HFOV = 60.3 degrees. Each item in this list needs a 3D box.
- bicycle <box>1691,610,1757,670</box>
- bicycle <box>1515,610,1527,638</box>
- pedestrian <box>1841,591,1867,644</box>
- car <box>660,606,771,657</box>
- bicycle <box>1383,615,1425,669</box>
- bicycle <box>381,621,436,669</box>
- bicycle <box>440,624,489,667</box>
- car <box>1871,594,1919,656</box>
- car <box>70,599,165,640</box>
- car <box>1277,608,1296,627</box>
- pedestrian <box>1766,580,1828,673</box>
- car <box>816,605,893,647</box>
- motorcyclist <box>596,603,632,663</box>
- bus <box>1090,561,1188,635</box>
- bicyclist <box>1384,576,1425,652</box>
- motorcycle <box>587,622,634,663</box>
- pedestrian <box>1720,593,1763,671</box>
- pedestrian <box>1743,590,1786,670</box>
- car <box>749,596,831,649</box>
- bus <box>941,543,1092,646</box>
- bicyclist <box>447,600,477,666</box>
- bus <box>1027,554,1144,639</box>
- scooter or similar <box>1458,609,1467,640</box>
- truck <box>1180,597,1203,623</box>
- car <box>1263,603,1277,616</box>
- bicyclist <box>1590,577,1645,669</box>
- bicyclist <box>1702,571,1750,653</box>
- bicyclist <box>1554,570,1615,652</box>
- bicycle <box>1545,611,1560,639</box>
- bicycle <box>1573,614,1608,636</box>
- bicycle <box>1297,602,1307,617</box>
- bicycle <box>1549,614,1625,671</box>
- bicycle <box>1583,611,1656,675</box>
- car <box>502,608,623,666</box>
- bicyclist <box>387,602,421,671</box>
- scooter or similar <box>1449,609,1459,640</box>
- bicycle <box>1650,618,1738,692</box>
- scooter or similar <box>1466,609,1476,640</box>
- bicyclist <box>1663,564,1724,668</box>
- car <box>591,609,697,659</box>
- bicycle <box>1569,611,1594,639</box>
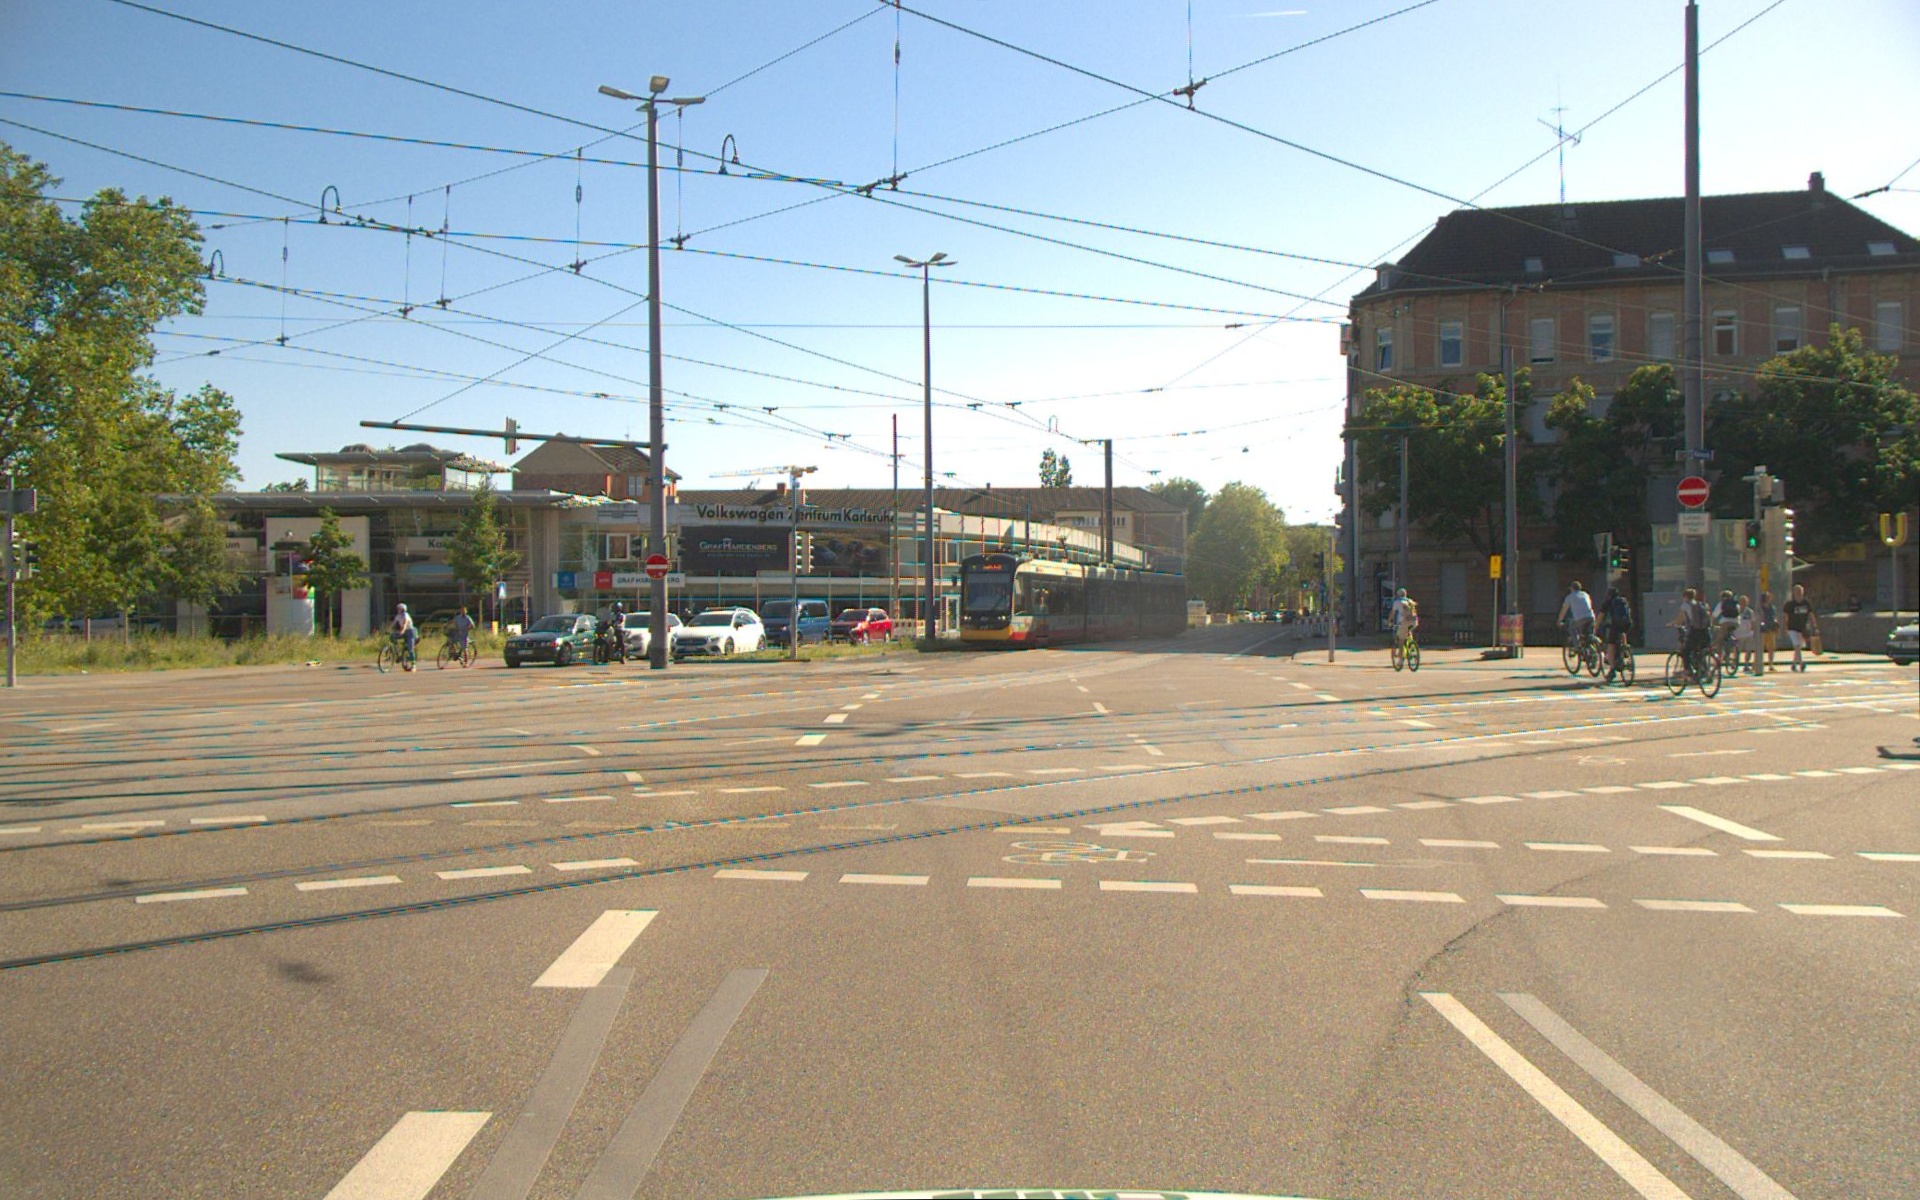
[{"bbox_3d":[15.720,0.811,34.078,0.520,1.137,1.935,1,1,3],"label":"bicycle"},{"bbox_3d":[22.032,0.943,64.953,0.395,1.080,1.483,1,-1,18],"label":"bicycle"},{"bbox_3d":[31.829,0.617,58.892,0.641,1.881,0.542,2,-1,-29],"label":"pedestrian"},{"bbox_3d":[-7.371,0.949,50.321,1.764,1.457,4.544,1,-1,14],"label":"car"},{"bbox_3d":[10.261,0.958,38.291,0.520,1.137,1.935,1,1,3],"label":"bicycle"},{"bbox_3d":[-14.633,1.197,43.955,0.526,1.204,1.755,-1,0,13],"label":"bicycle"},{"bbox_3d":[-13.591,1.238,45.421,0.526,1.092,1.656,-1,0,13],"label":"bicycle"},{"bbox_3d":[27.384,0.698,45.574,4.184,1.649,1.903,1,-2,-25],"label":"car"},{"bbox_3d":[-44.366,1.033,87.141,3.911,2.049,1.997,1,-1,-7],"label":"car"},{"bbox_3d":[36.837,1.957,186.423,1.951,2.049,4.003,1,-1,13],"label":"car"},{"bbox_3d":[18.222,0.570,36.030,0.911,1.963,1.049,1,-1,9],"label":"pedestrian"},{"bbox_3d":[-4.521,1.121,71.550,1.761,1.749,4.418,-1,-1,18],"label":"car"},{"bbox_3d":[-9.499,0.909,45.427,0.573,1.607,0.944,-1,-2,15],"label":"motorcyclist"},{"bbox_3d":[9.570,-0.056,87.137,2.781,3.652,11.275,0,0,18],"label":"bus"},{"bbox_3d":[10.254,0.335,38.203,0.667,1.713,1.120,1,-1,3],"label":"bicyclist"},{"bbox_3d":[-9.539,1.146,45.183,0.507,1.065,1.748,-1,0,15],"label":"motorcycle"},{"bbox_3d":[17.479,0.717,37.019,0.645,1.706,0.824,1,-1,9],"label":"pedestrian"},{"bbox_3d":[18.299,0.690,37.649,0.645,1.788,0.824,1,-1,9],"label":"pedestrian"},{"bbox_3d":[-6.578,0.873,64.377,1.764,1.967,4.167,-1,-1,15],"label":"car"},{"bbox_3d":[2.498,-0.148,65.125,2.781,3.652,13.504,0,0,16],"label":"bus"},{"bbox_3d":[-13.617,0.893,45.221,0.562,1.773,0.602,1,1,13],"label":"bicyclist"},{"bbox_3d":[5.975,-0.135,76.683,2.781,3.652,10.729,0,0,19],"label":"bus"},{"bbox_3d":[19.836,0.984,65.297,0.264,1.206,1.566,1,-1,14],"label":"scooter or similar"},{"bbox_3d":[27.002,1.165,192.634,2.484,2.880,6.381,1,-1,9],"label":"truck"},{"bbox_3d":[45.405,1.369,241.949,1.721,1.726,4.147,1,-1,14],"label":"car"},{"bbox_3d":[12.077,0.418,30.389,0.610,1.642,0.981,1,-1,1],"label":"bicyclist"},{"bbox_3d":[15.736,0.249,34.003,0.585,1.642,0.953,1,-1,4],"label":"bicyclist"},{"bbox_3d":[12.540,0.224,33.239,0.769,1.621,0.882,0,-1,-15],"label":"bicyclist"},{"bbox_3d":[23.182,0.975,64.760,0.394,1.080,1.353,1,-1,14],"label":"bicycle"},{"bbox_3d":[26.856,1.062,70.434,1.388,0.871,0.404,1,-1,20],"label":"bicycle"},{"bbox_3d":[25.892,0.715,125.149,0.666,1.134,2.709,1,0,12],"label":"bicycle"},{"bbox_3d":[12.583,0.839,33.239,0.379,1.087,1.926,-1,0,-14],"label":"bicycle"},{"bbox_3d":[12.106,0.796,30.408,0.521,1.137,1.933,0,-2,-1],"label":"bicycle"},{"bbox_3d":[-11.010,1.009,46.093,1.614,1.505,3.974,-2,-1,14],"label":"car"},{"bbox_3d":[-14.694,0.952,43.726,0.562,1.773,0.678,1,1,14],"label":"bicyclist"},{"bbox_3d":[19.532,0.977,65.359,0.264,1.206,1.566,1,-1,14],"label":"scooter or similar"},{"bbox_3d":[11.834,0.870,26.721,0.521,1.137,1.933,1,-1,-2],"label":"bicycle"},{"bbox_3d":[20.150,0.974,65.215,0.264,1.217,1.566,1,-1,14],"label":"scooter or similar"},{"bbox_3d":[11.849,0.263,26.740,0.539,1.642,0.952,1,-1,-2],"label":"bicyclist"},{"bbox_3d":[-9.911,1.066,52.246,1.764,1.457,4.003,1,-1,14],"label":"car"},{"bbox_3d":[24.225,0.981,64.471,0.395,1.080,1.351,1,-1,-2],"label":"bicycle"}]
